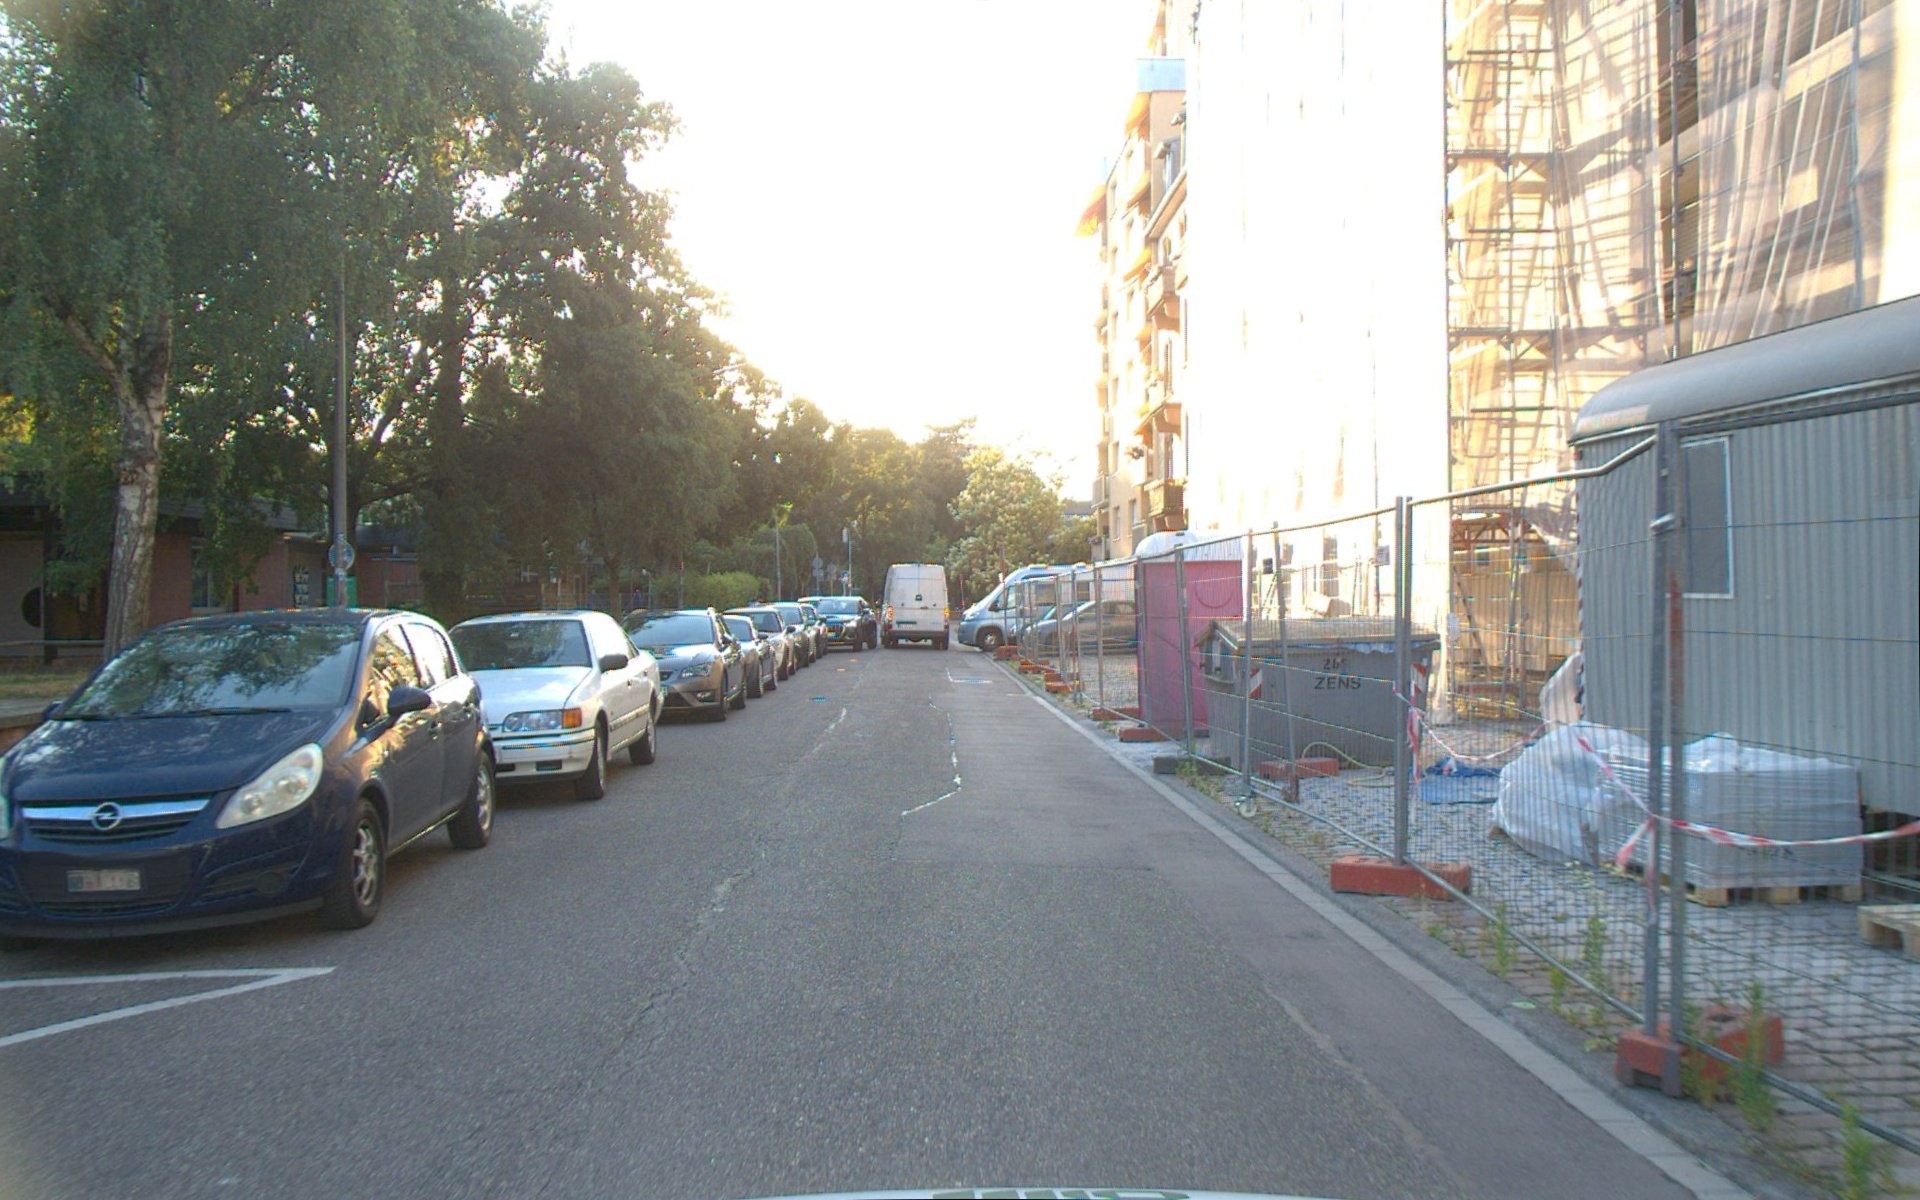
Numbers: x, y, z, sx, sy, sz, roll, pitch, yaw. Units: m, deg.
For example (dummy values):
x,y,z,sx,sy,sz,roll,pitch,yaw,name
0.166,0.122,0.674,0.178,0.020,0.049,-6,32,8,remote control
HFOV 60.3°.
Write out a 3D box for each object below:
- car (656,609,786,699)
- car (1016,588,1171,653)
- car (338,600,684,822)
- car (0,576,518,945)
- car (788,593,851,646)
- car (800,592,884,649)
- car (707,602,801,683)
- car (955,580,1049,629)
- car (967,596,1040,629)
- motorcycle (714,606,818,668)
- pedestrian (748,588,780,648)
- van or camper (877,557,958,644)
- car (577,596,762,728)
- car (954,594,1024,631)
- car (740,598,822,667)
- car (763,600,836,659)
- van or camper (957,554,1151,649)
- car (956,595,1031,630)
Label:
x,y,z,sx,sy,sz,roll,pitch,yaw,name
-3.943,0.850,27.872,1.625,1.336,4.153,-2,0,-1,car
3.650,0.542,45.558,3.911,1.542,2.017,-3,0,-6,car
-3.550,0.778,14.010,1.747,1.471,4.746,-3,0,-2,car
-3.681,0.637,8.643,1.954,1.478,3.996,0,0,-5,car
-4.776,0.643,56.698,1.747,1.659,4.000,-2,0,0,car
-3.518,0.594,50.007,1.766,1.597,4.568,-1,0,6,car
-4.132,0.817,33.626,1.569,1.456,3.801,-3,0,-3,car
2.006,0.230,80.201,4.405,2.269,2.031,1,0,-3,car
2.375,0.672,91.378,3.906,1.758,1.999,1,0,-1,car
-4.319,0.821,36.836,2.118,1.326,0.880,1,0,12,motorcycle
-6.129,0.563,51.852,0.919,1.862,0.786,1,0,-3,pedestrian
-1.383,0.018,53.612,2.404,2.591,6.081,2,0,-1,van or camper
-3.830,0.749,22.588,1.822,1.565,4.756,-1,0,-2,car
1.619,0.691,93.682,3.905,2.049,2.000,1,0,0,car
-4.272,0.732,40.033,1.681,1.522,4.358,-2,0,-3,car
-4.347,0.766,45.204,1.604,1.504,3.992,-2,0,-1,car
2.854,0.052,51.173,5.810,2.818,2.108,1,0,-3,van or camper
1.760,0.655,88.319,3.906,1.758,1.999,1,0,-1,car
